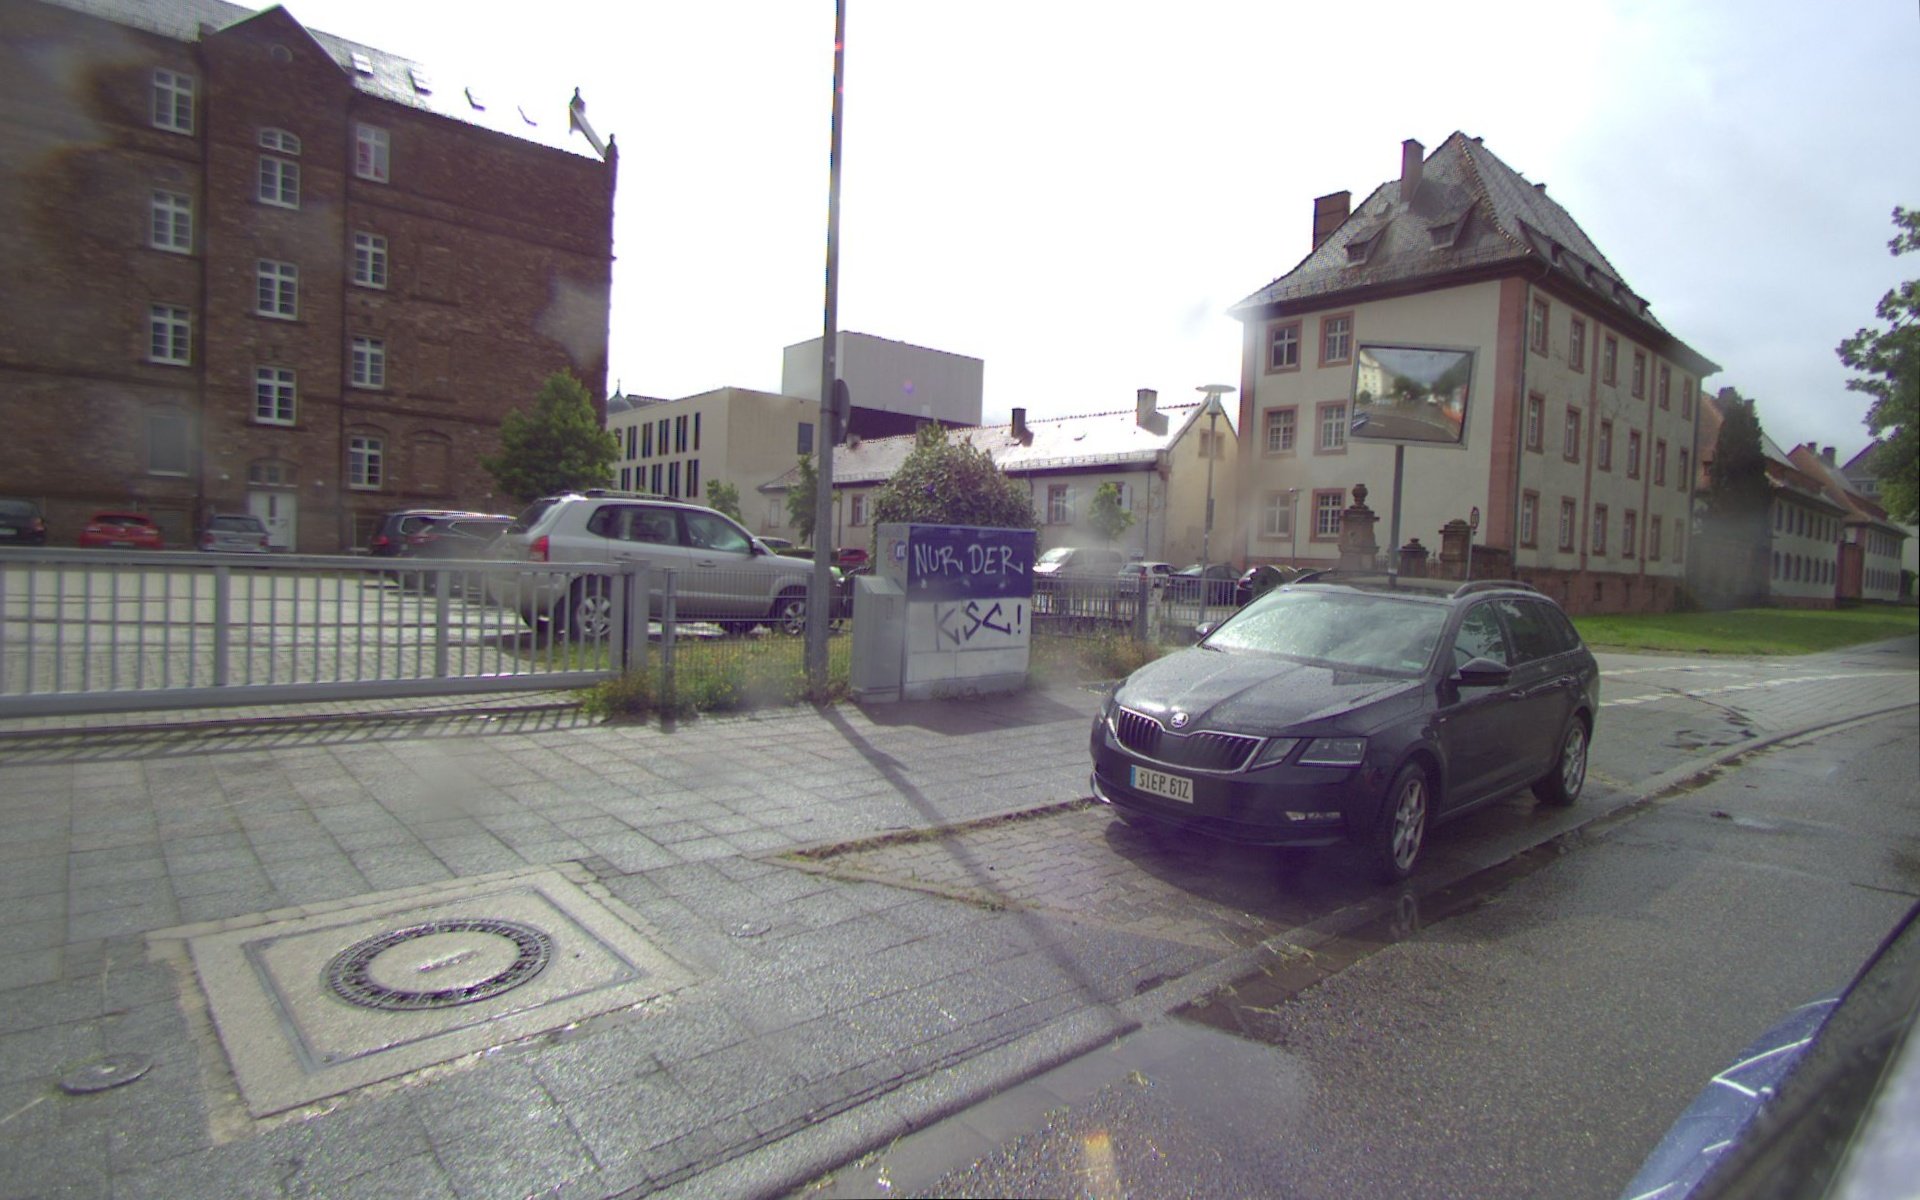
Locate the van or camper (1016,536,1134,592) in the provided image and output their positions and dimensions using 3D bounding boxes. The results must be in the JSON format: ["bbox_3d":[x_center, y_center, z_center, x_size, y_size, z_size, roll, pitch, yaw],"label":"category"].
[{"bbox_3d":[4.822,-1.453,42.076,5.092,2.143,1.793,1,1,-39],"label":"van or camper"}]

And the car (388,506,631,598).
[{"bbox_3d":[-9.307,-0.966,21.033,4.338,1.699,1.860,1,3,-35],"label":"car"}]

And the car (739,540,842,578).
[{"bbox_3d":[-6.789,-1.632,40.735,3.737,1.471,1.759,-1,2,-38],"label":"car"}]

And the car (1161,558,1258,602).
[{"bbox_3d":[9.114,-0.715,36.907,3.510,1.464,1.599,1,4,-39],"label":"car"}]

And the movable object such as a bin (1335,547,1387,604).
[{"bbox_3d":[10.875,-0.653,27.428,1.077,1.474,0.801,1,4,-39],"label":"movable object such as a bin"}]

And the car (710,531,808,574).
[{"bbox_3d":[-8.480,-1.972,42.812,3.737,1.712,1.759,-1,2,-38],"label":"car"}]

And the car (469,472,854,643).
[{"bbox_3d":[-3.584,-0.493,12.490,4.161,1.771,1.809,0,3,-38],"label":"car"}]

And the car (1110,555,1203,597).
[{"bbox_3d":[7.626,-0.931,39.245,3.510,1.464,1.599,1,4,-39],"label":"car"}]

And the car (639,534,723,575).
[{"bbox_3d":[-14.183,-2.276,51.545,3.737,2.032,1.759,-1,2,-38],"label":"car"}]

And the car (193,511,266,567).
[{"bbox_3d":[-22.050,-1.863,30.486,1.642,1.543,3.678,0,4,-38],"label":"car"}]

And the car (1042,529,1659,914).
[{"bbox_3d":[2.681,0.471,6.362,4.303,1.558,1.778,0,5,-42],"label":"car"}]

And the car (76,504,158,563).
[{"bbox_3d":[-23.748,-1.827,28.607,1.642,1.505,3.676,0,2,-38],"label":"car"}]

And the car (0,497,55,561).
[{"bbox_3d":[-25.666,-1.945,27.275,1.642,1.595,3.678,0,3,-38],"label":"car"}]

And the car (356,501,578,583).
[{"bbox_3d":[-11.427,-1.318,23.586,4.342,1.699,1.859,0,3,-38],"label":"car"}]

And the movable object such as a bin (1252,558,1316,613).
[{"bbox_3d":[9.376,-0.420,29.284,1.365,1.474,1.109,1,4,-39],"label":"movable object such as a bin"}]
